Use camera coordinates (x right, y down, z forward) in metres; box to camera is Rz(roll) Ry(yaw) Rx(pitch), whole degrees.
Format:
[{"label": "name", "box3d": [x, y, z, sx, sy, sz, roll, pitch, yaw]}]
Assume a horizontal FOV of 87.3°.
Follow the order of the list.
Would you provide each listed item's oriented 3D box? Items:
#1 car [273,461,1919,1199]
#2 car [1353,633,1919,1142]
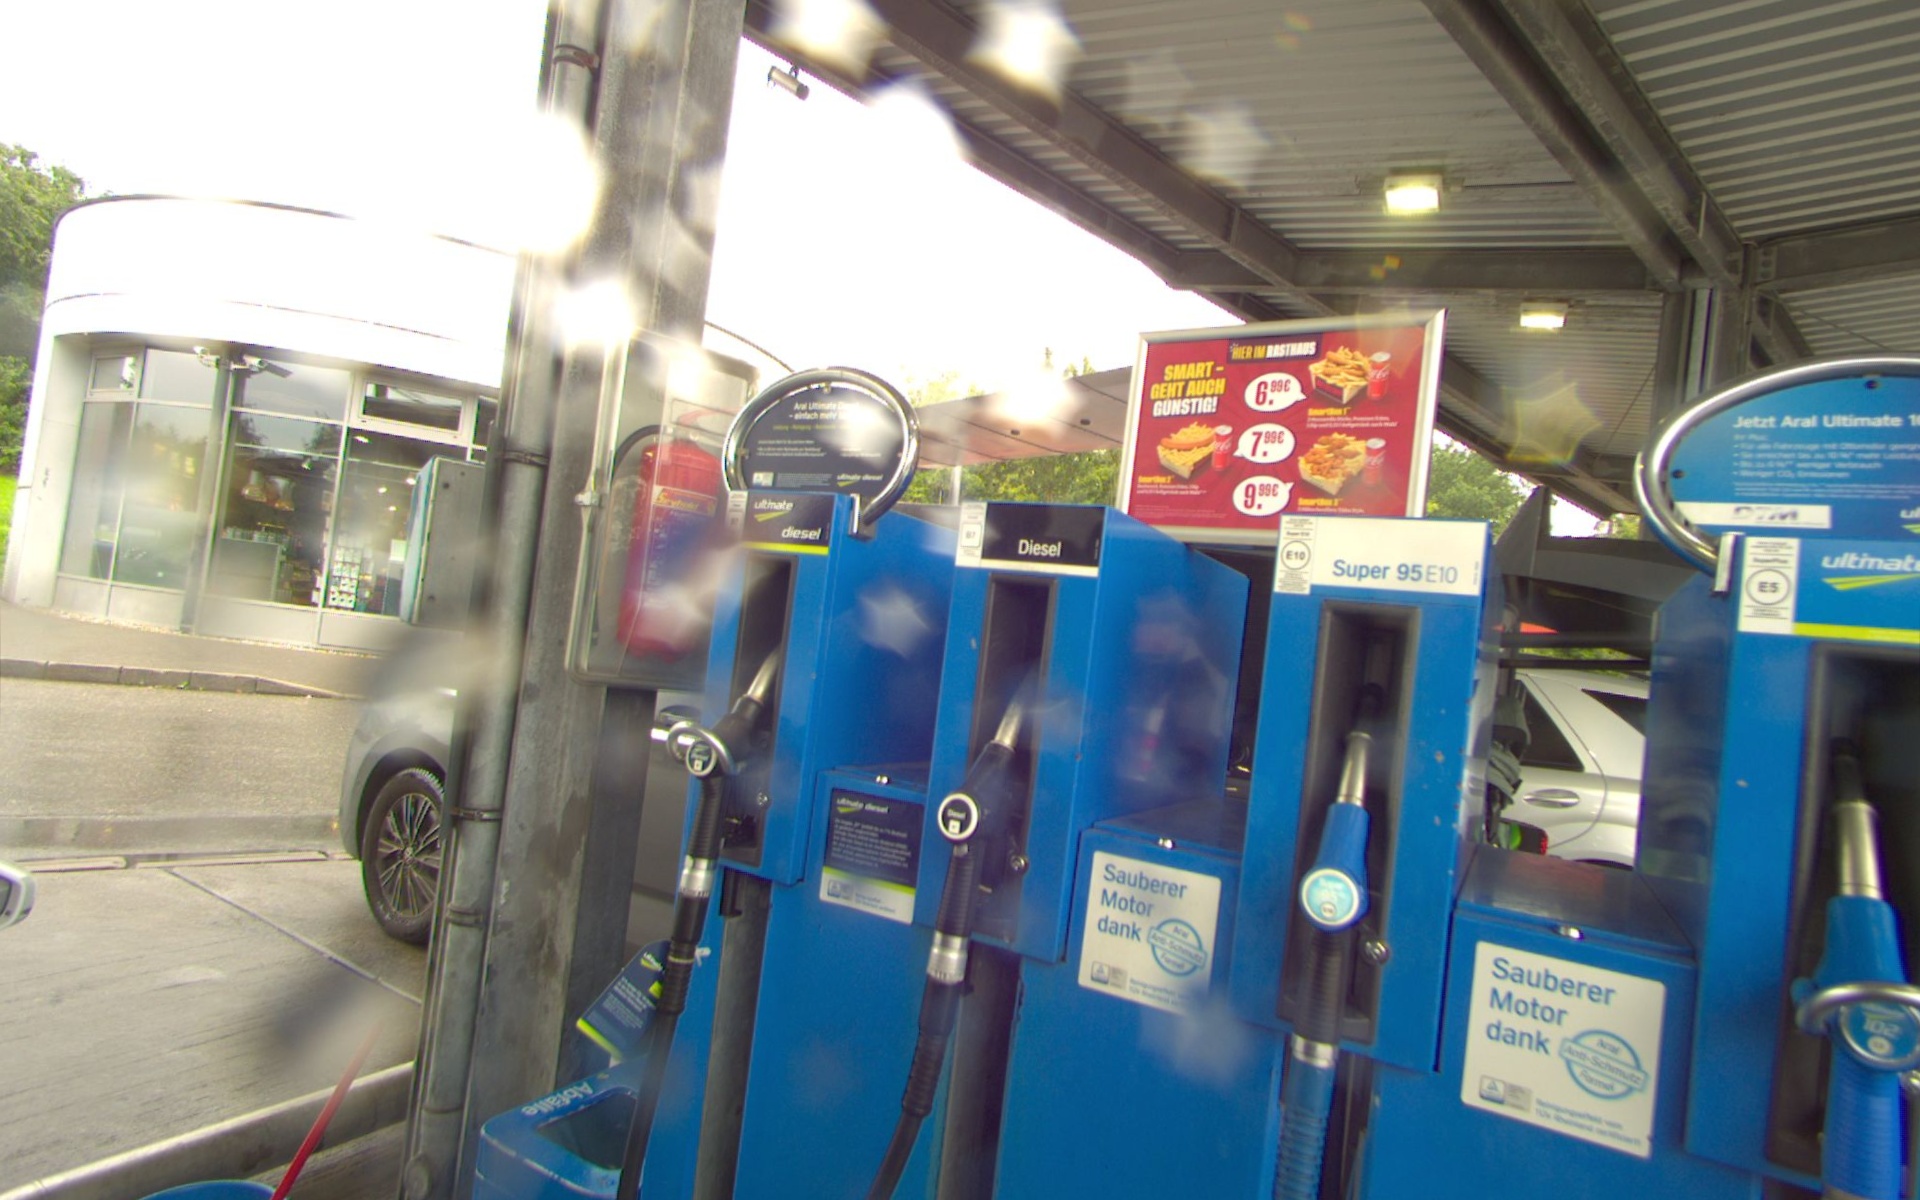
[{"label": "car", "box3d": [-0.145, 0.646, 3.668, 5.055, 1.819, 1.865, 6, -2, 32]}, {"label": "car", "box3d": [4.492, 1.371, 4.811, 4.464, 1.819, 1.865, 6, -2, 32]}]
